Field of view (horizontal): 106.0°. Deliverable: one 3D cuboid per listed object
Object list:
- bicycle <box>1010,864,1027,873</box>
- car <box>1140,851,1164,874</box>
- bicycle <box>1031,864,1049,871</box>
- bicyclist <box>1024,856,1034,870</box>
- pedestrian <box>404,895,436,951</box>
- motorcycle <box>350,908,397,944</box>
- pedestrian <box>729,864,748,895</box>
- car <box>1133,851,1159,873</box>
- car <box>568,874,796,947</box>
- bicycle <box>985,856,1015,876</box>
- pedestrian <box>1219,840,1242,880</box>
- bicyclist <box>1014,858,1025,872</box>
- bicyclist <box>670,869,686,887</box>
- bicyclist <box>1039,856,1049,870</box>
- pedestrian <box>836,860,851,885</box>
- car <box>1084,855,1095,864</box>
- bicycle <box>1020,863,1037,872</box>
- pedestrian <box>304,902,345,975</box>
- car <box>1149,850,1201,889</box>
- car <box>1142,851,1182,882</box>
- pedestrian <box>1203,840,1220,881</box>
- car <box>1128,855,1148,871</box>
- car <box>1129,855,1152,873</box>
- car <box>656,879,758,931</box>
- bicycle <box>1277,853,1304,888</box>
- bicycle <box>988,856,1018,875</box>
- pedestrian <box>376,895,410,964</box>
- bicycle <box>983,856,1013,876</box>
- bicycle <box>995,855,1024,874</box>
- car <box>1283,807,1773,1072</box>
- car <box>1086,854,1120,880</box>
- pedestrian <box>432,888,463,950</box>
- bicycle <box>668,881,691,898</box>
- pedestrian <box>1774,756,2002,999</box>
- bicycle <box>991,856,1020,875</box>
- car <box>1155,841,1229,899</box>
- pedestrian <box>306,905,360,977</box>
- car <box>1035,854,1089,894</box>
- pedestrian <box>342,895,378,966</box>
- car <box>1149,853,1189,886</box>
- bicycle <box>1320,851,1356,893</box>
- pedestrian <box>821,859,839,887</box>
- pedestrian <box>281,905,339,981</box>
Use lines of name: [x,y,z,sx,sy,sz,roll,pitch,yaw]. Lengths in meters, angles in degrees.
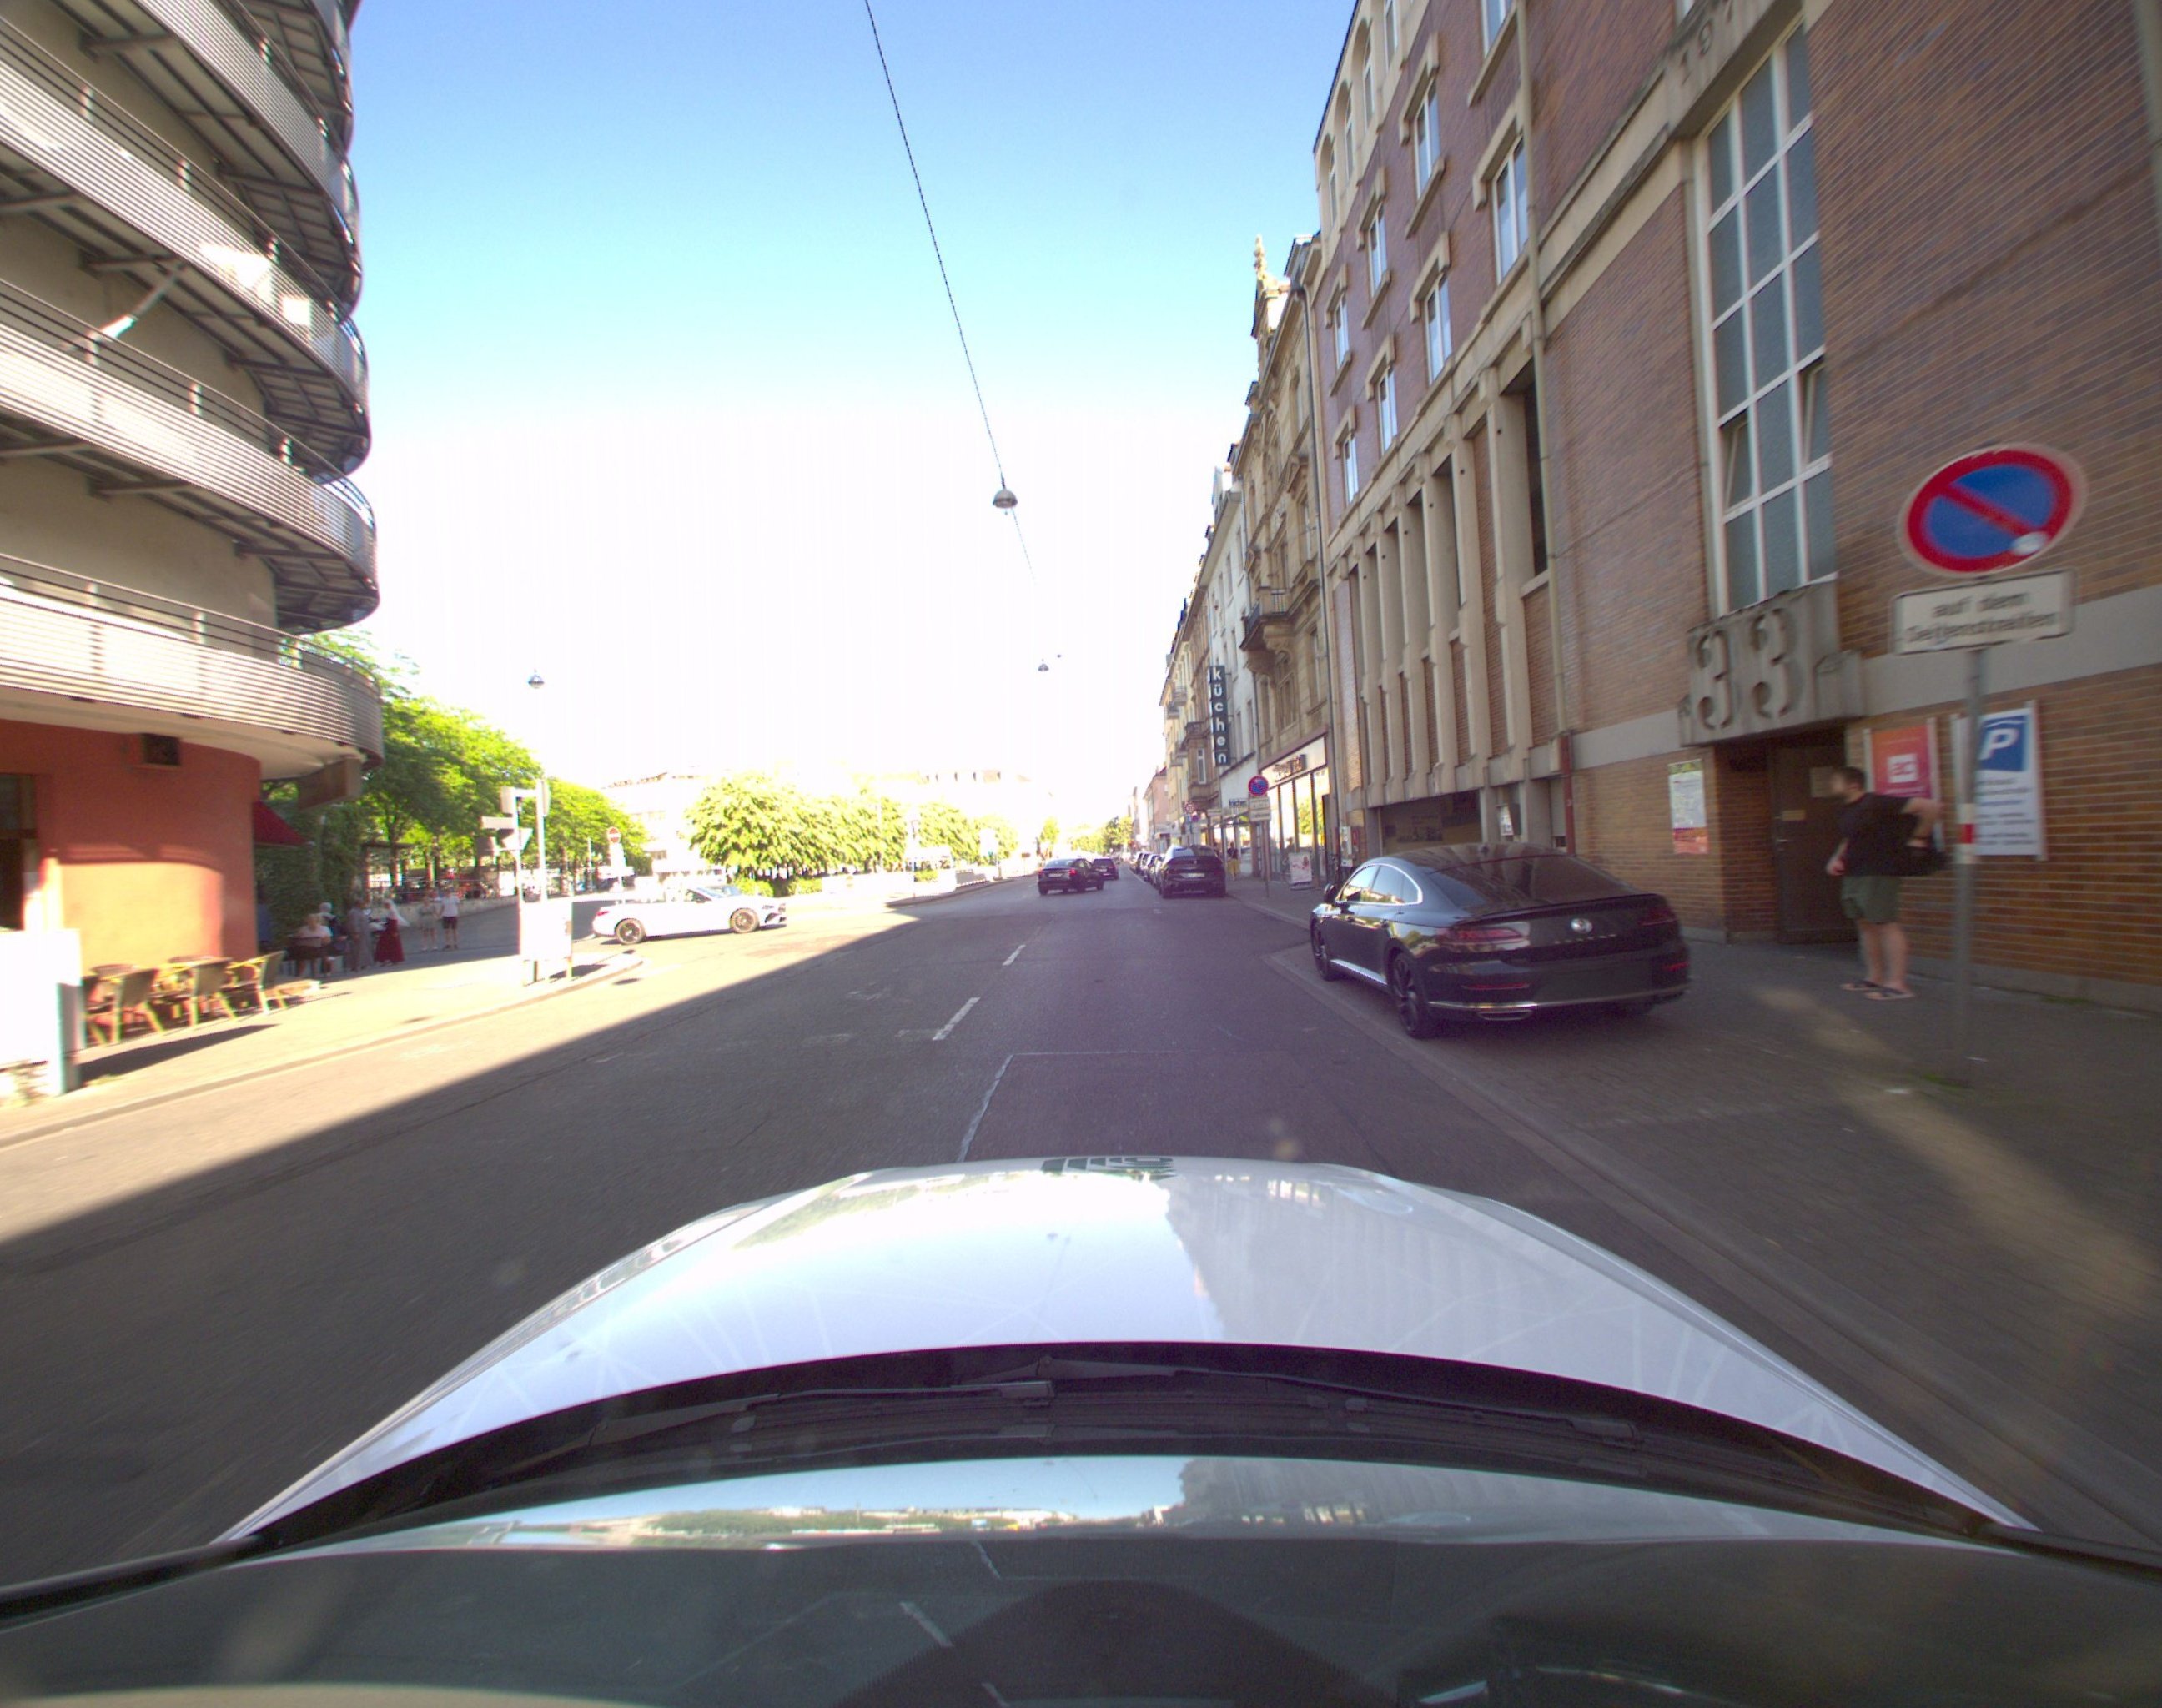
bicycle: [-7.716,1.789,101.190,2.006,1.022,0.887,-3,0,-2]
car: [4.971,0.572,57.363,1.606,1.546,2.857,-2,0,3]
bicycle: [-5.299,1.750,105.457,2.233,0.883,0.925,-3,0,5]
bicyclist: [-6.608,1.106,103.654,1.143,1.686,0.819,-3,-1,-2]
pedestrian: [-19.984,2.065,24.634,0.618,1.613,0.577,-3,-1,-31]
motorcycle: [-25.286,2.581,29.095,1.674,1.208,0.509,-4,0,22]
pedestrian: [-24.540,1.815,58.379,0.725,2.108,0.973,-3,-1,24]
car: [4.983,0.640,62.893,1.710,1.636,4.084,-2,-1,0]
car: [-10.638,1.474,22.111,5.104,1.423,1.992,-4,0,-11]
bicycle: [-8.959,1.326,90.217,3.101,2.013,0.911,-3,0,11]
pedestrian: [6.609,0.269,36.012,0.797,1.674,0.590,-5,-1,4]
bicyclist: [-7.654,1.311,101.199,1.143,1.686,0.918,-3,-1,-2]
bicyclist: [-39.435,2.383,79.726,0.962,1.700,1.210,-3,-1,-3]
bicyclist: [-4.789,1.156,105.422,1.140,1.686,0.916,-3,-1,5]
pedestrian: [-20.492,1.584,70.187,0.725,2.108,0.973,-3,-1,24]
car: [1.897,1.219,178.571,1.985,1.772,4.004,-2,0,3]
bicycle: [-6.653,1.677,103.627,2.006,1.022,0.762,-3,-1,-2]
pedestrian: [-16.921,1.873,18.227,0.578,1.535,0.692,-3,-1,-39]
car: [3.885,0.589,34.216,1.832,1.487,4.187,-2,0,2]
car: [4.336,0.640,44.318,1.832,1.546,4.229,-2,0,1]
pedestrian: [5.727,0.276,35.852,0.617,1.766,0.519,-3,-1,4]
car: [5.583,0.929,80.435,1.785,1.460,3.870,-2,-1,2]
car: [5.089,0.893,69.700,1.785,1.460,4.086,-2,-1,2]
car: [-13.313,1.769,29.306,1.745,1.422,4.532,-3,1,-4]
bicycle: [6.891,0.518,26.840,0.356,1.085,1.942,-5,0,2]
bicycle: [-8.780,1.298,91.204,3.101,2.013,0.911,-3,0,11]
pedestrian: [-16.051,1.753,19.013,0.545,1.535,0.546,-3,-1,-40]
bicycle: [-9.113,1.318,89.264,3.101,2.013,0.911,-3,0,11]
bicycle: [-8.272,1.226,94.360,3.101,2.013,0.911,-3,0,11]
car: [3.463,0.546,7.680,1.910,1.478,4.967,-7,0,2]
car: [1.441,0.804,51.418,1.926,1.487,4.276,-3,0,4]
pedestrian: [-19.408,1.987,24.958,0.589,1.827,0.553,-3,-1,-31]
bicycle: [-39.398,3.462,79.961,0.962,1.503,2.685,-3,0,-3]
pedestrian: [5.999,0.166,6.119,0.689,1.635,0.890,-5,0,1]
bicycle: [-8.568,1.318,92.245,3.101,2.013,0.911,-3,0,11]
car: [3.573,0.476,27.062,1.966,1.725,4.827,-2,0,2]
pedestrian: [-14.992,1.728,16.338,0.576,1.340,0.694,-3,0,-27]
car: [-0.727,0.829,33.708,1.988,1.480,4.495,-2,-1,1]
pedestrian: [-16.443,1.723,18.581,0.545,1.535,0.679,-3,-1,-39]
car: [4.118,0.691,38.592,1.602,1.449,3.832,-2,0,2]
bicycle: [6.846,0.455,21.760,0.356,1.044,1.791,-5,0,2]
pedestrian: [-19.591,1.462,63.569,0.725,2.108,0.973,-3,-1,24]
pedestrian: [-14.757,1.687,15.603,0.576,1.340,0.694,-3,0,-27]
